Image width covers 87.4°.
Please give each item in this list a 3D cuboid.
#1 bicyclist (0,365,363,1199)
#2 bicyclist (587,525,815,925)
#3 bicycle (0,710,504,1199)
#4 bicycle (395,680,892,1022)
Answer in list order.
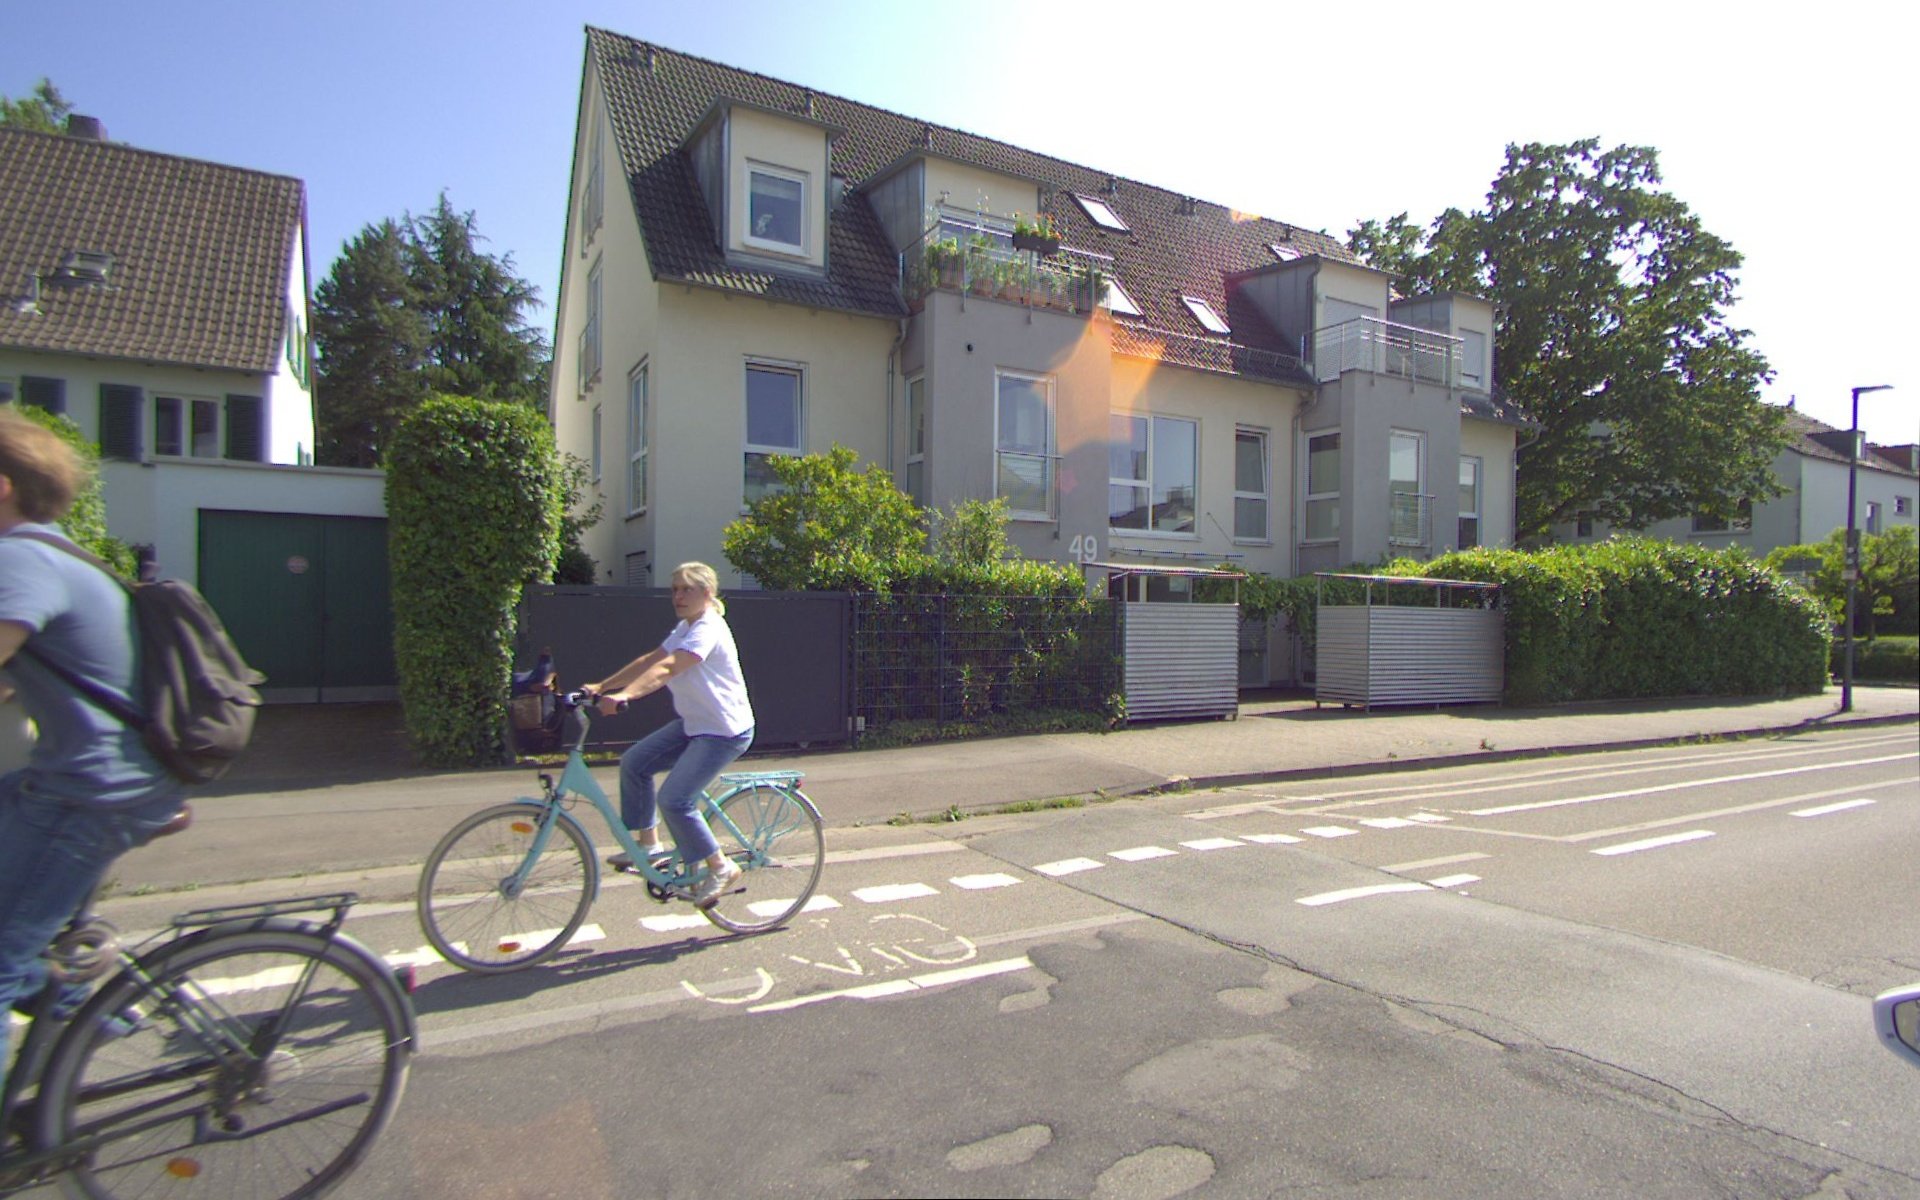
[{"bbox_3d":[-1.912,0.427,2.167,1.009,1.689,0.746,1,-3,-29],"label":"bicyclist"},{"bbox_3d":[-1.178,0.521,4.546,0.849,1.601,0.673,1,-3,-29],"label":"bicyclist"},{"bbox_3d":[-2.243,0.865,1.967,2.391,1.181,0.779,2,-3,-30],"label":"bicycle"},{"bbox_3d":[-1.326,0.977,4.438,2.011,1.201,0.557,1,-3,-30],"label":"bicycle"}]
